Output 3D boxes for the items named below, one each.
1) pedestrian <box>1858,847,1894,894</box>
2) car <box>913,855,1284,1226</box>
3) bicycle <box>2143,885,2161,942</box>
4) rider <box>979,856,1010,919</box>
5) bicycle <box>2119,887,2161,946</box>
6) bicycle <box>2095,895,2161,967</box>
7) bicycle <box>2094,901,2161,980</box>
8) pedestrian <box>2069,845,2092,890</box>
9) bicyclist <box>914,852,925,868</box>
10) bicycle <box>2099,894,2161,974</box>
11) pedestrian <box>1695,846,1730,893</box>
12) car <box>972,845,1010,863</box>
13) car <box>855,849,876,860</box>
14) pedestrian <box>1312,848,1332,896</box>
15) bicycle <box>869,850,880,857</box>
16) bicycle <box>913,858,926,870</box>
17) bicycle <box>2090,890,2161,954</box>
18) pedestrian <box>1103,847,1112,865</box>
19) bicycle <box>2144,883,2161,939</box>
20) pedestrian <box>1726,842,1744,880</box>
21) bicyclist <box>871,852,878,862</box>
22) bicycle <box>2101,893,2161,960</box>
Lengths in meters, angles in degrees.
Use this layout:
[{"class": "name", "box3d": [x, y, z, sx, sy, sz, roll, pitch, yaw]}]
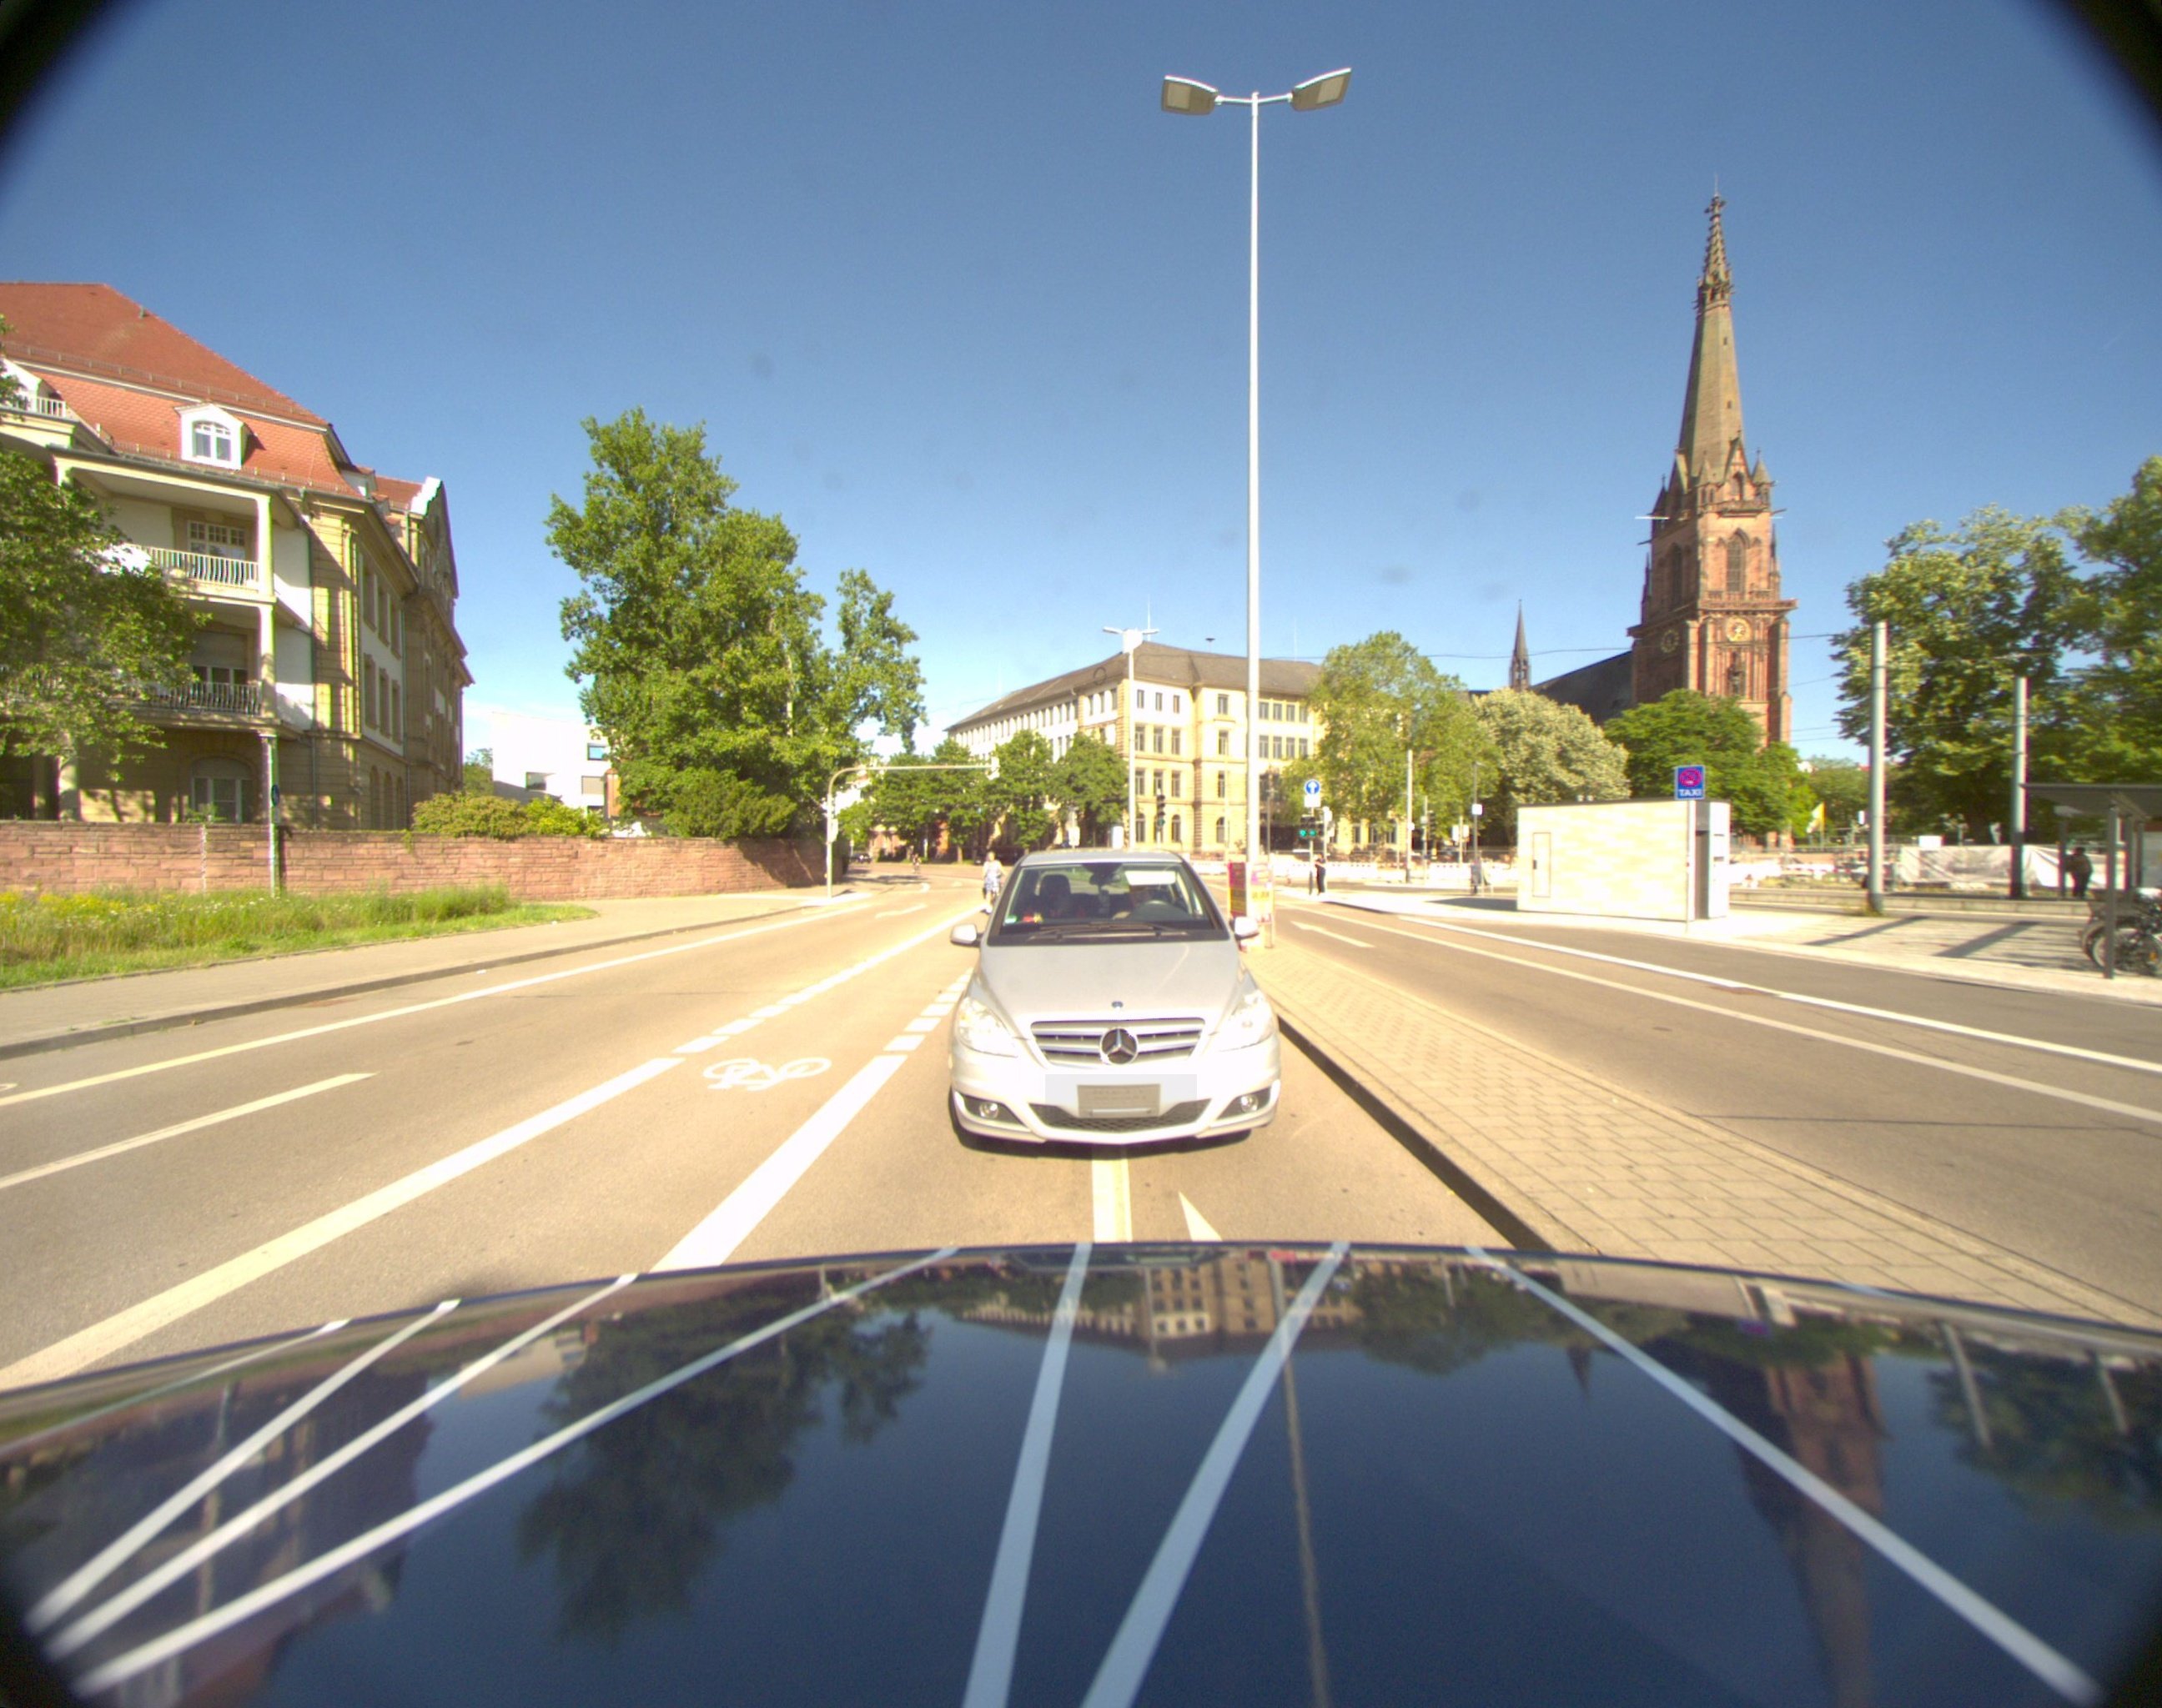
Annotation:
[{"class": "pedestrian", "box3d": [30.171, 0.610, 28.837, 0.980, 1.769, 0.801, -1, 1, -37]}, {"class": "car", "box3d": [0.055, 0.880, 5.522, 1.706, 1.657, 3.913, -1, 1, -1]}, {"class": "bicycle", "box3d": [19.894, 1.077, 13.193, 0.458, 1.003, 1.667, -1, 1, -33]}, {"class": "rider", "box3d": [-2.289, 0.876, 20.221, 0.658, 1.610, 0.989, -1, 1, 1]}, {"class": "bicycle", "box3d": [19.127, 1.100, 12.942, 0.458, 1.003, 1.667, -1, 1, -33]}, {"class": "bicycle", "box3d": [16.072, 1.144, 10.970, 0.458, 1.003, 1.667, -1, 1, -33]}, {"class": "bicycle", "box3d": [14.699, 1.172, 9.959, 0.458, 1.003, 1.667, -1, 1, -33]}, {"class": "pedestrian", "box3d": [37.572, 0.501, 28.570, 0.404, 1.711, 0.419, 1, 1, 38]}, {"class": "bicyclist", "box3d": [-13.315, 0.518, 62.512, 0.711, 1.309, 0.777, -1, 1, 1]}, {"class": "bicycle", "box3d": [15.200, 1.125, 10.274, 0.458, 1.055, 1.667, -1, 1, -33]}, {"class": "pedestrian", "box3d": [24.188, 0.579, 29.093, 0.980, 1.769, 0.801, -1, 1, -37]}, {"class": "car", "box3d": [-10.722, -0.034, 90.757, 1.994, 2.002, 4.721, 0, 1, 32]}, {"class": "car", "box3d": [-29.231, 0.055, 102.973, 1.798, 1.490, 4.564, 1, 1, -29]}, {"class": "pedestrian", "box3d": [9.268, 0.684, 29.222, 0.693, 1.844, 0.679, 0, 1, 13]}, {"class": "bicycle", "box3d": [-29.801, -0.128, 109.753, 1.830, 0.985, 0.735, 0, 1, 44]}, {"class": "bicycle", "box3d": [-13.316, 0.823, 62.682, 0.711, 1.000, 1.753, -1, 1, 1]}, {"class": "bicycle", "box3d": [17.913, 1.128, 12.421, 0.458, 1.003, 1.667, -1, 1, -33]}, {"class": "pedestrian", "box3d": [2.649, 0.198, 76.234, 0.677, 1.714, 0.588, -1, 1, -22]}, {"class": "bicycle", "box3d": [20.487, 1.065, 13.604, 0.458, 1.003, 1.667, -1, 1, -33]}, {"class": "pedestrian", "box3d": [37.406, 0.410, 43.471, 0.571, 2.142, 0.549, -1, 1, -25]}, {"class": "bicyclist", "box3d": [-29.844, 0.425, 109.816, 0.893, 1.377, 0.735, 1, 1, 44]}, {"class": "bicycle", "box3d": [17.259, 1.149, 11.648, 0.458, 1.003, 1.899, -1, 1, -33]}]
